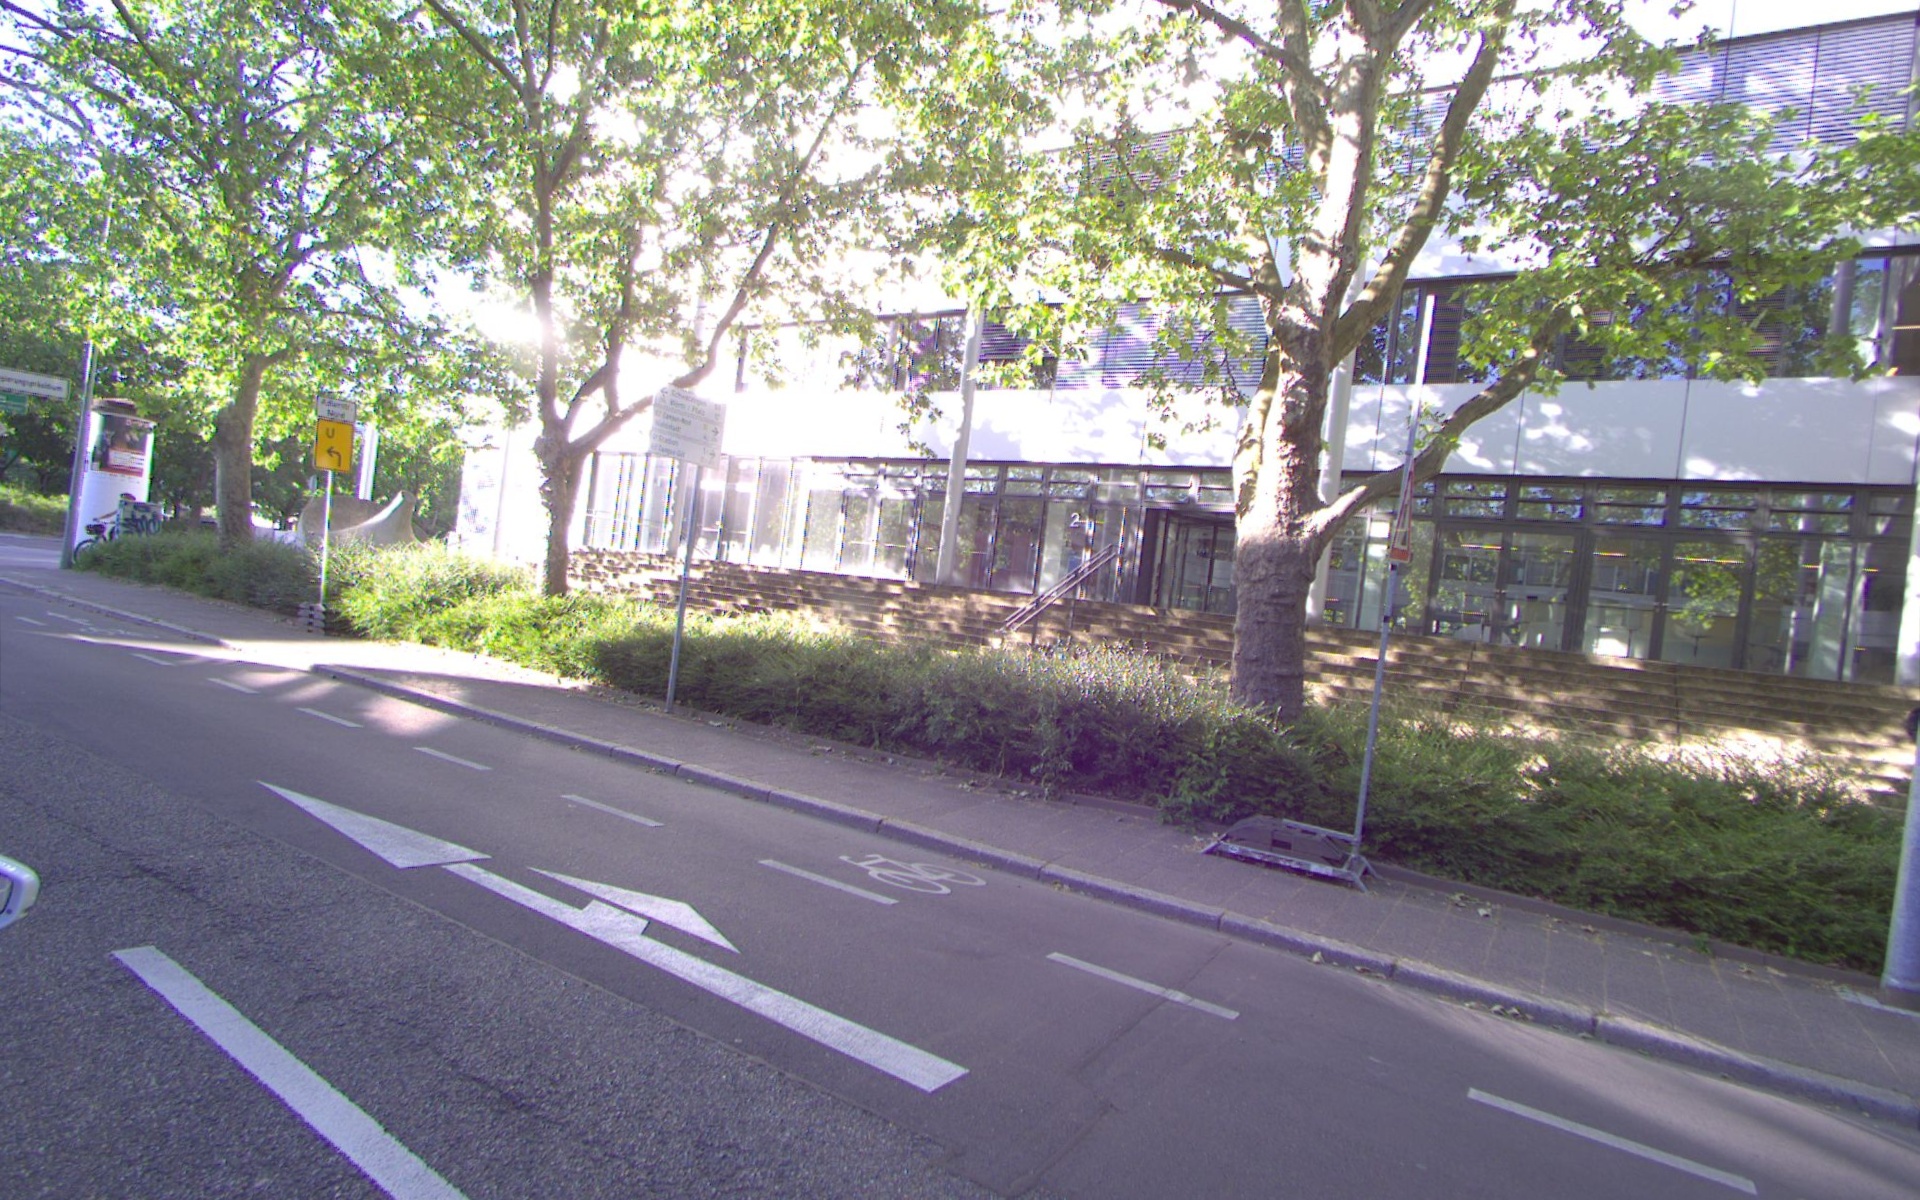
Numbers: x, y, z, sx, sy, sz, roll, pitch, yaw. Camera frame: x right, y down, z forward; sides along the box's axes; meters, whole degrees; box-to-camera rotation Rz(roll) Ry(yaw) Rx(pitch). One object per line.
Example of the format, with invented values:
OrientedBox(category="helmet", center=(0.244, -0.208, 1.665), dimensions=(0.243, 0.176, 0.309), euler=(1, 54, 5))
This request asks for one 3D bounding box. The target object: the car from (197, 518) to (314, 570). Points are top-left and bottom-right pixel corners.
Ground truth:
OrientedBox(category="car", center=(-32.699, -2.568, 46.819), dimensions=(1.708, 1.792, 3.996), euler=(7, -1, 30))

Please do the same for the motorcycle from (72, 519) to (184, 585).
OrientedBox(category="motorcycle", center=(-19.222, -1.096, 23.279), dimensions=(0.712, 1.257, 1.782), euler=(6, -2, 37))

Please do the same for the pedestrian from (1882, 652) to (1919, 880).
OrientedBox(category="pedestrian", center=(8.938, 1.517, 9.094), dimensions=(0.552, 2.037, 0.552), euler=(7, -1, 20))

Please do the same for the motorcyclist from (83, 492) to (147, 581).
OrientedBox(category="motorcyclist", center=(-19.349, -1.450, 23.031), dimensions=(0.662, 1.885, 0.823), euler=(6, -1, 37))
